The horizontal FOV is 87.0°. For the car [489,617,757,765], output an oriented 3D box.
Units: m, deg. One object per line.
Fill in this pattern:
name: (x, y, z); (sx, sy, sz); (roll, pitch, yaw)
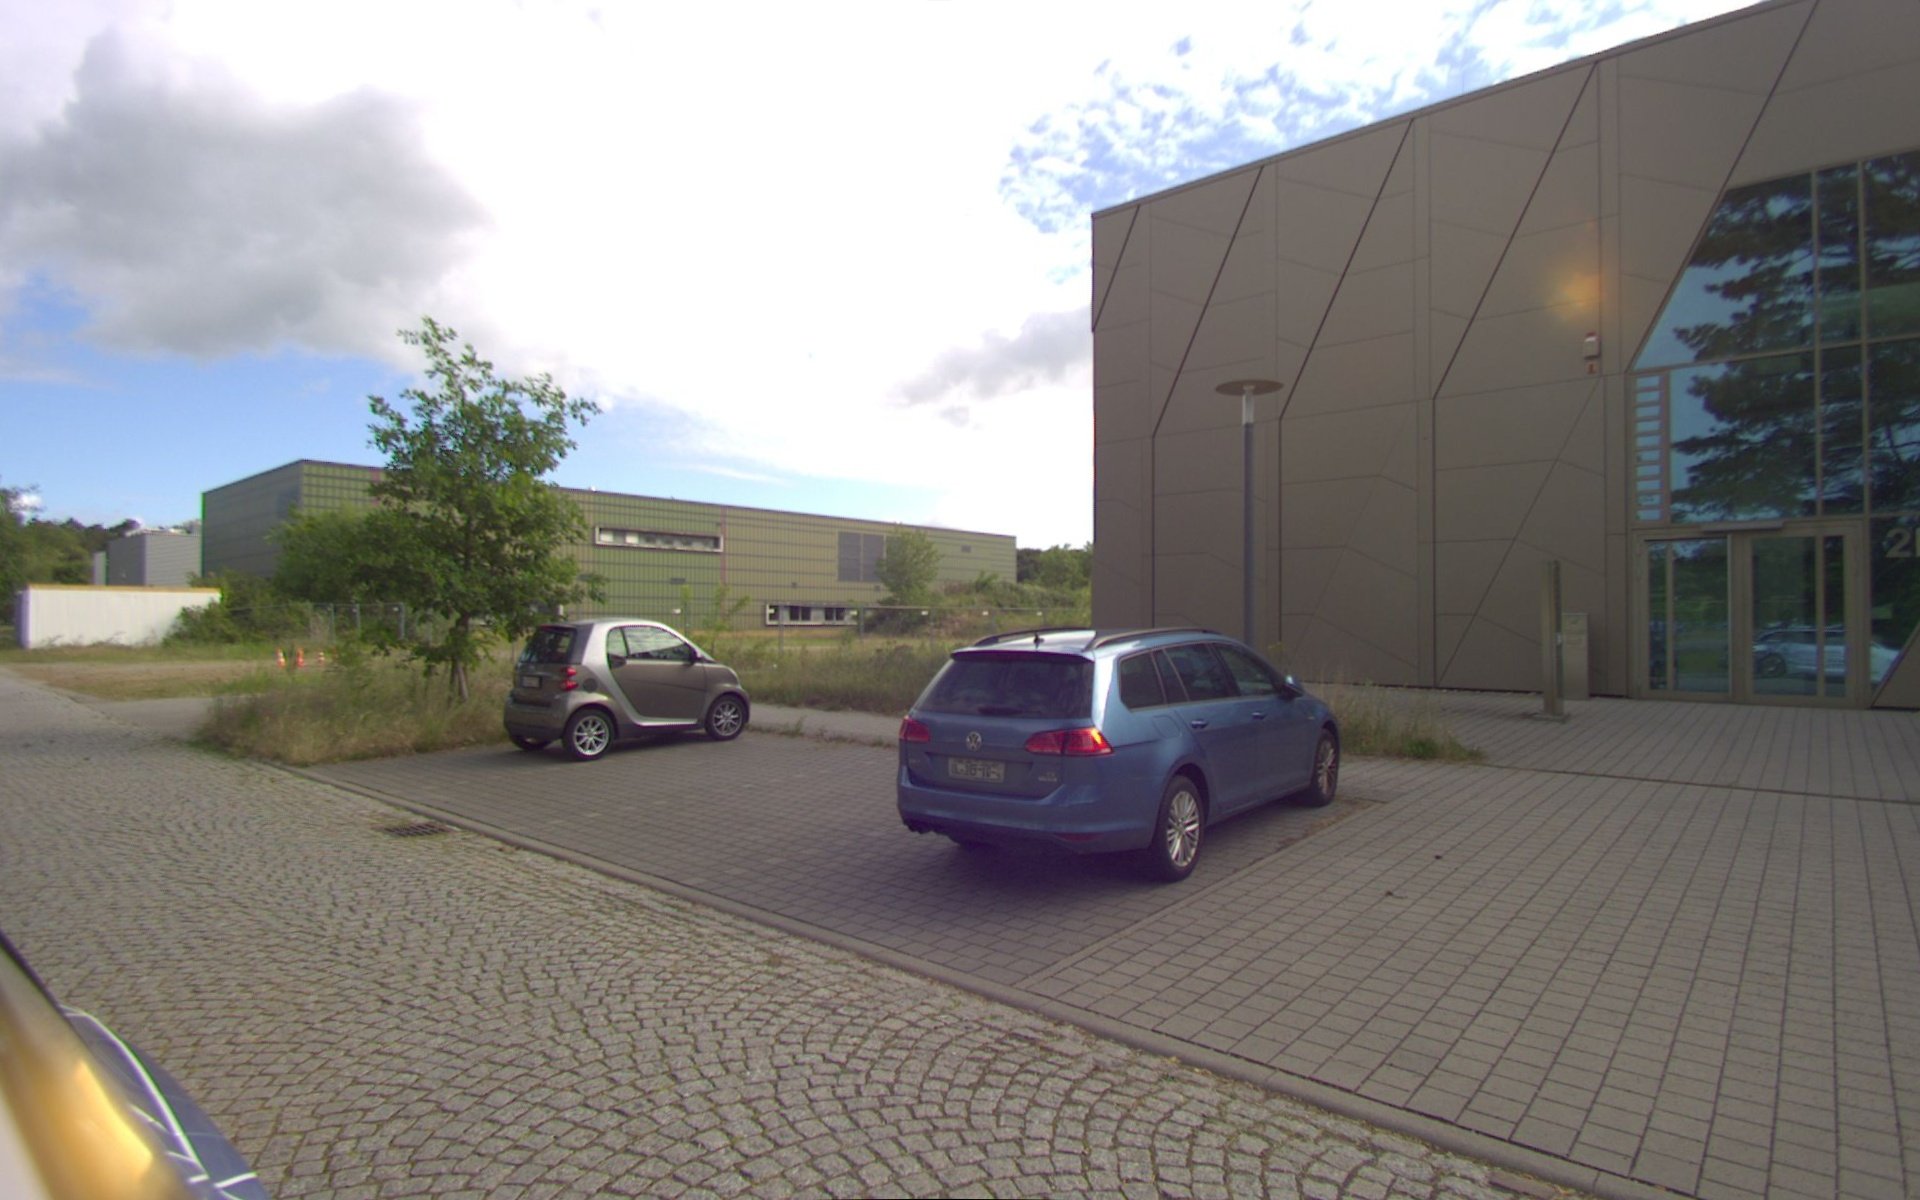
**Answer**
car: (-4.018, 0.997, 12.244); (1.609, 1.523, 2.627); (-1, -1, 40)

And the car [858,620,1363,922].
car: (1.378, 0.910, 7.345); (1.771, 1.439, 4.264); (-1, -1, 38)
